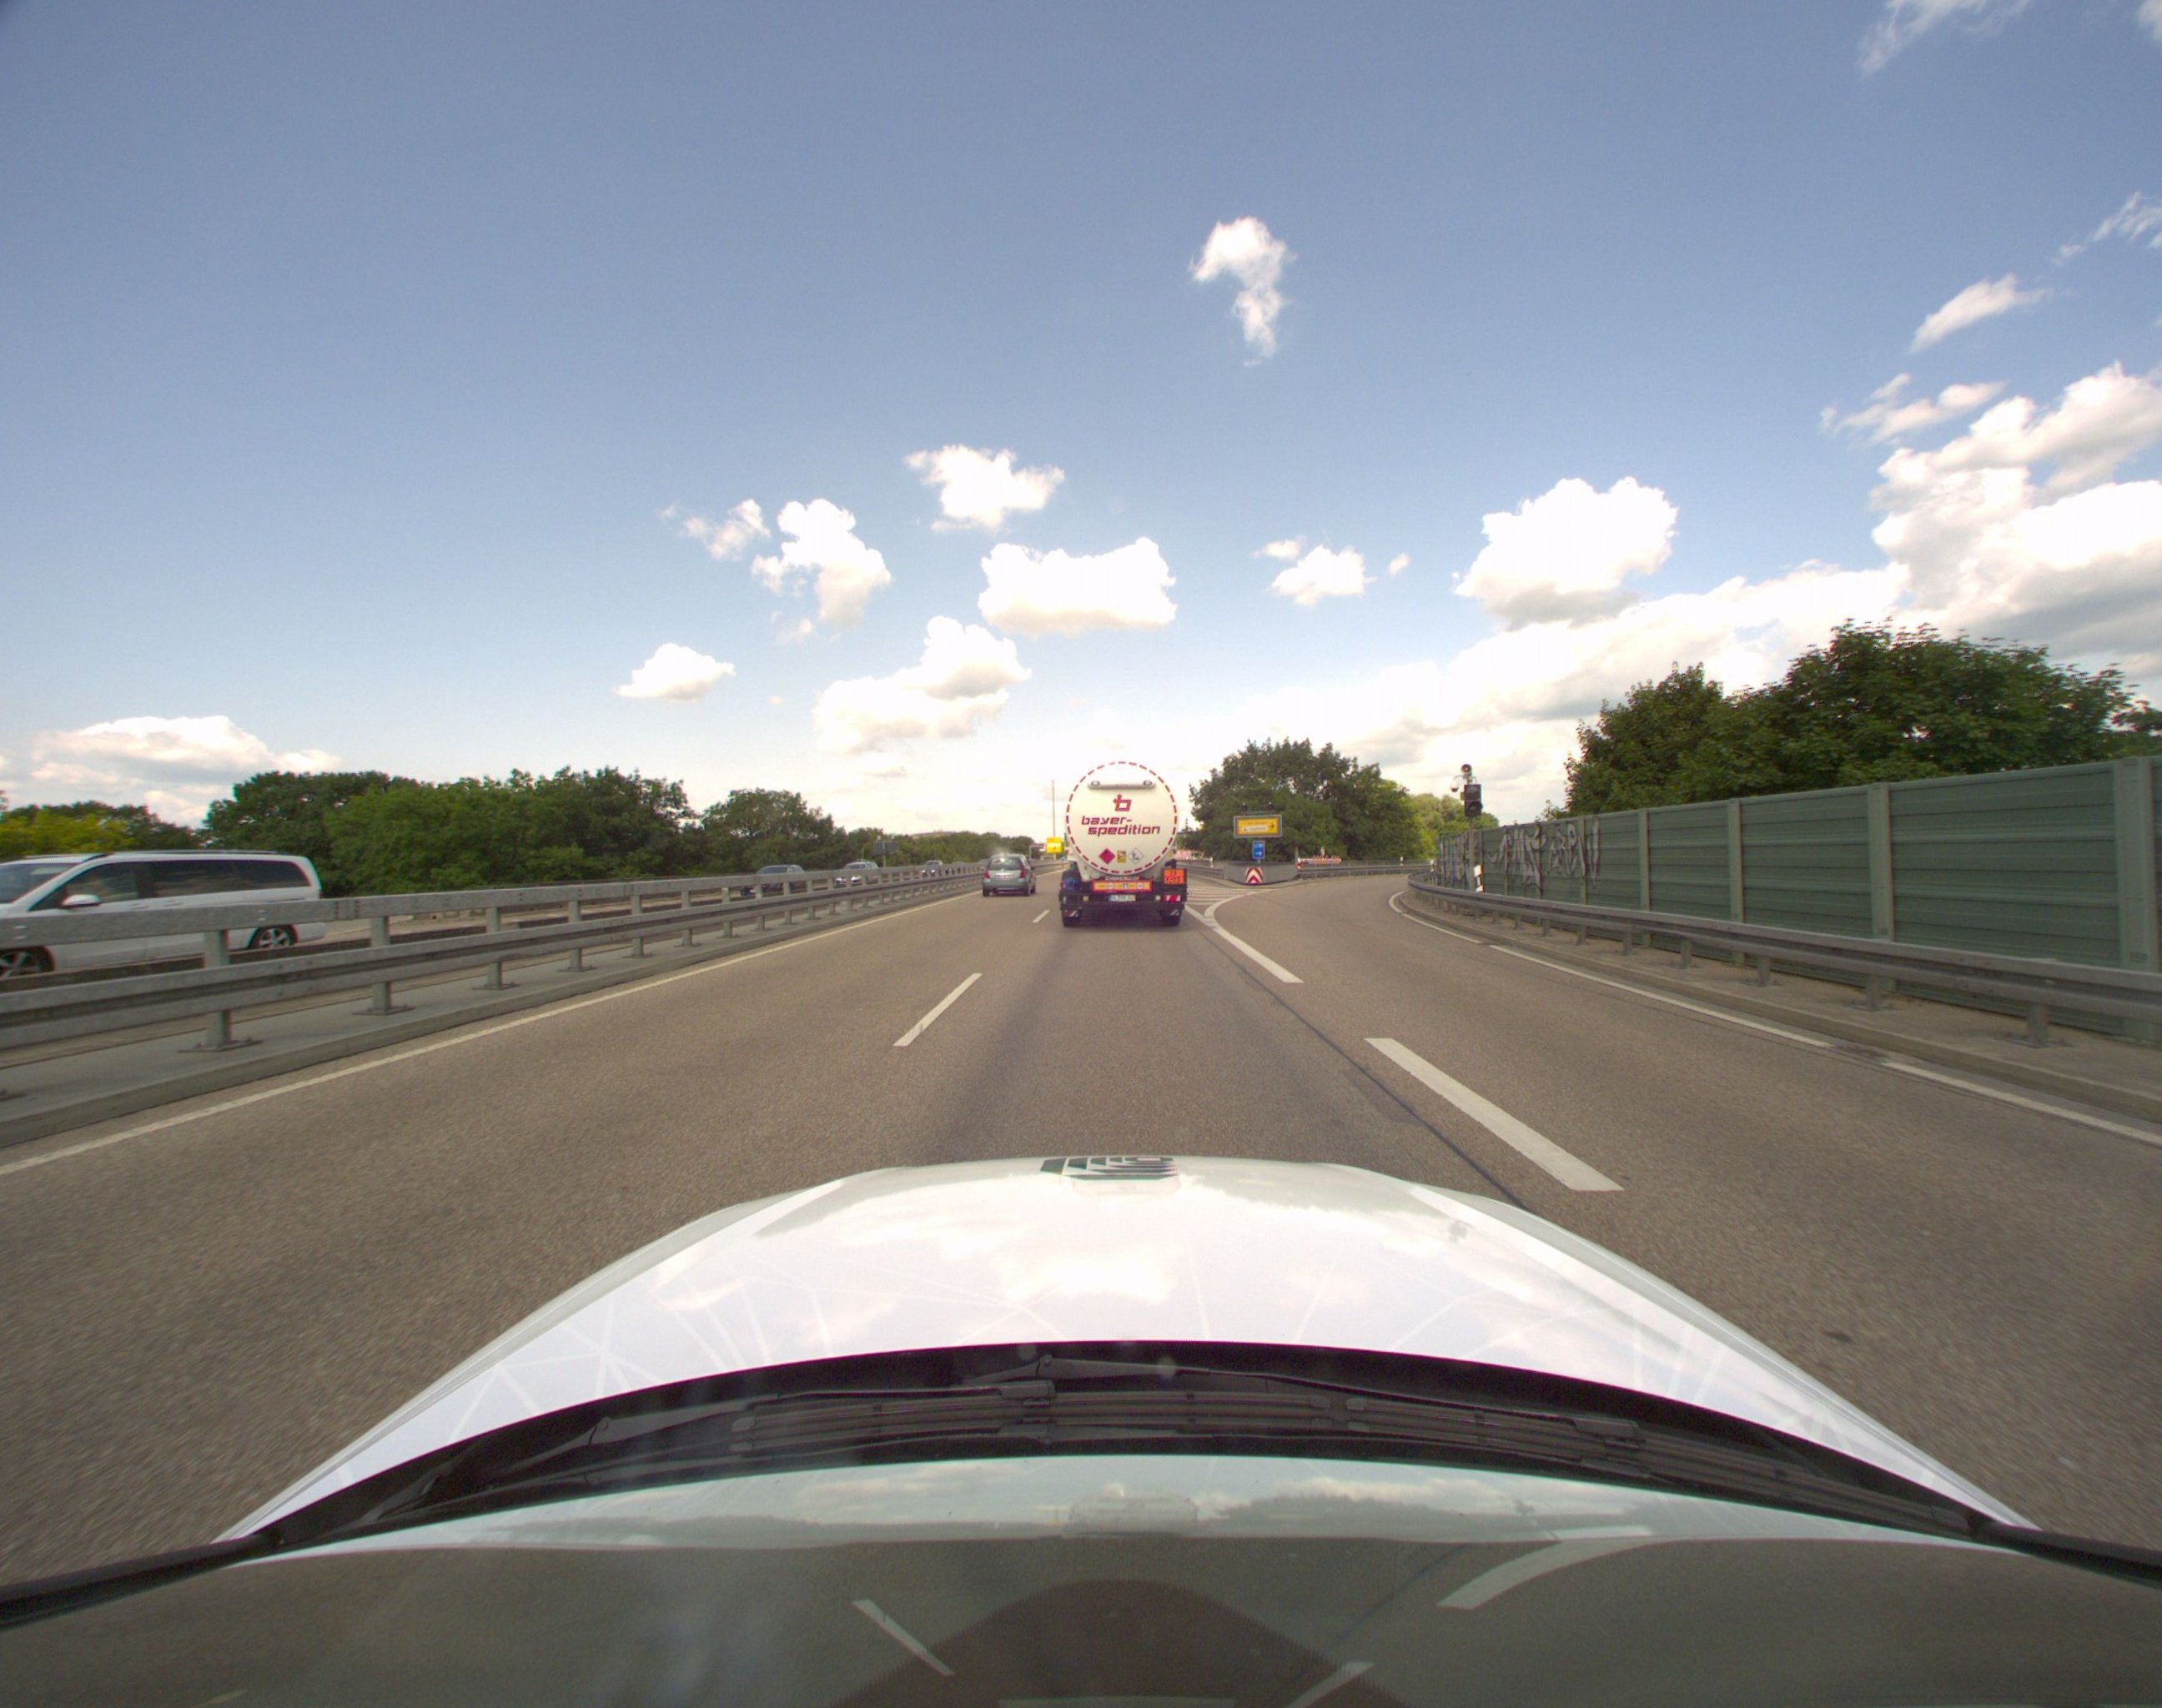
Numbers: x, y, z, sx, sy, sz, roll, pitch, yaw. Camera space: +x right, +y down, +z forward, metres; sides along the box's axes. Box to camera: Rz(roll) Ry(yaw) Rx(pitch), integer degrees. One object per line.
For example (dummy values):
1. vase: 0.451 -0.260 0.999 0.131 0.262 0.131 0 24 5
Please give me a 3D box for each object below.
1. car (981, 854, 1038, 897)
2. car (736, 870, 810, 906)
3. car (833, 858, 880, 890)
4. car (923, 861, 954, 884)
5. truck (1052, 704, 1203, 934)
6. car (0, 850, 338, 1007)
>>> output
1. car: -2.712 0.801 31.763 1.741 1.531 4.001 -1 0 1
2. car: -13.751 1.467 36.573 1.778 1.389 4.047 0 1 0
3. car: -13.429 1.158 48.968 1.577 1.711 4.410 0 1 0
4. car: -12.709 1.632 72.943 1.986 2.014 4.001 0 0 2
5. truck: 0.981 -0.643 19.503 2.885 4.369 8.031 0 0 1
6. car: -14.549 0.925 12.263 1.954 1.925 5.190 1 1 -1
